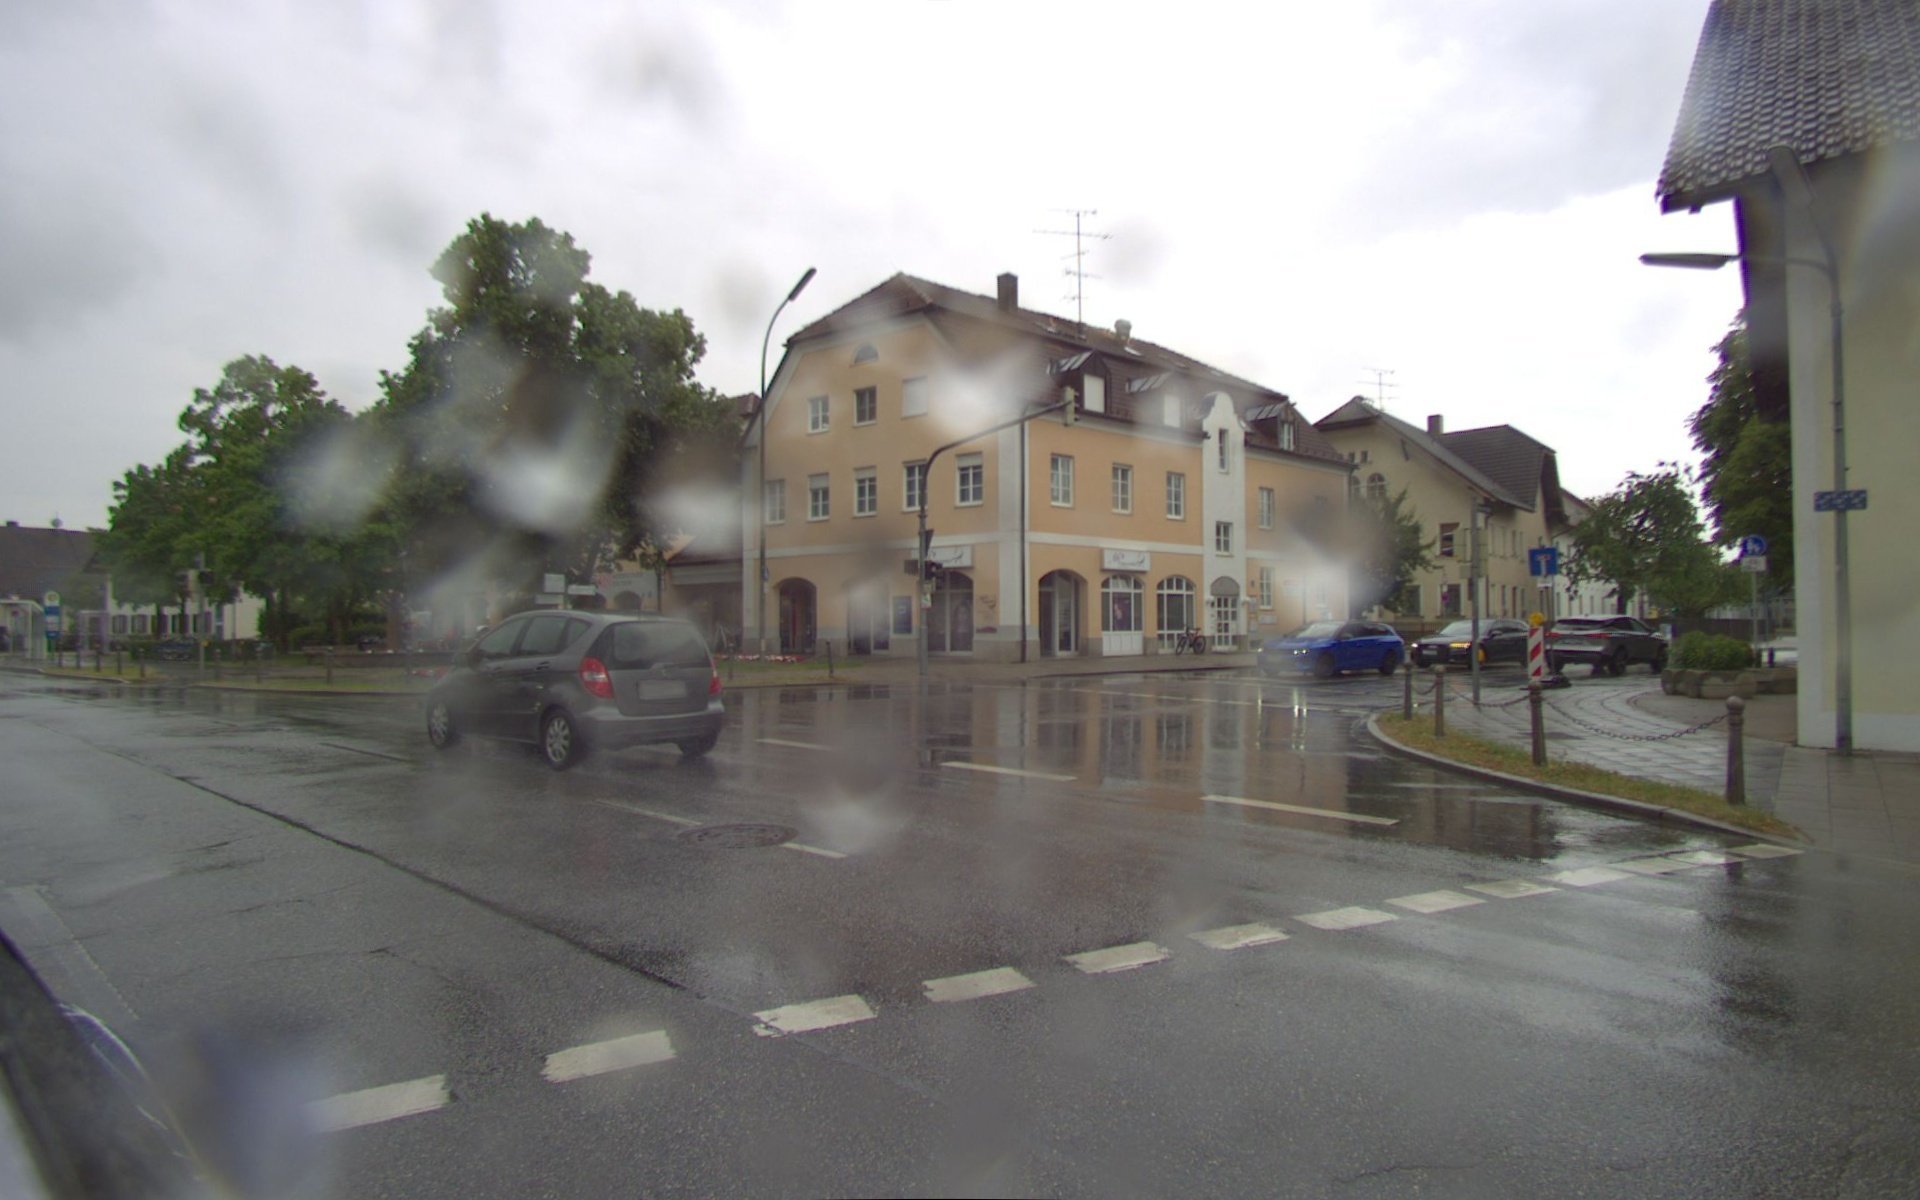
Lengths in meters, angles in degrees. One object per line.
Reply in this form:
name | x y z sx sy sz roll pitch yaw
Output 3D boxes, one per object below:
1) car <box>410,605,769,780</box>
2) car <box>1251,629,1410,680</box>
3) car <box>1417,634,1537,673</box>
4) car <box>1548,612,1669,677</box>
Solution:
car | -4.069 0.868 10.896 3.894 1.545 1.897 -1 -2 39
car | 9.625 1.352 26.180 4.288 1.194 1.694 1 -2 -35
car | 15.278 1.537 29.851 4.006 1.025 1.427 1 -2 -35
car | 18.374 1.248 28.597 2.089 1.686 4.323 -1 -3 44
